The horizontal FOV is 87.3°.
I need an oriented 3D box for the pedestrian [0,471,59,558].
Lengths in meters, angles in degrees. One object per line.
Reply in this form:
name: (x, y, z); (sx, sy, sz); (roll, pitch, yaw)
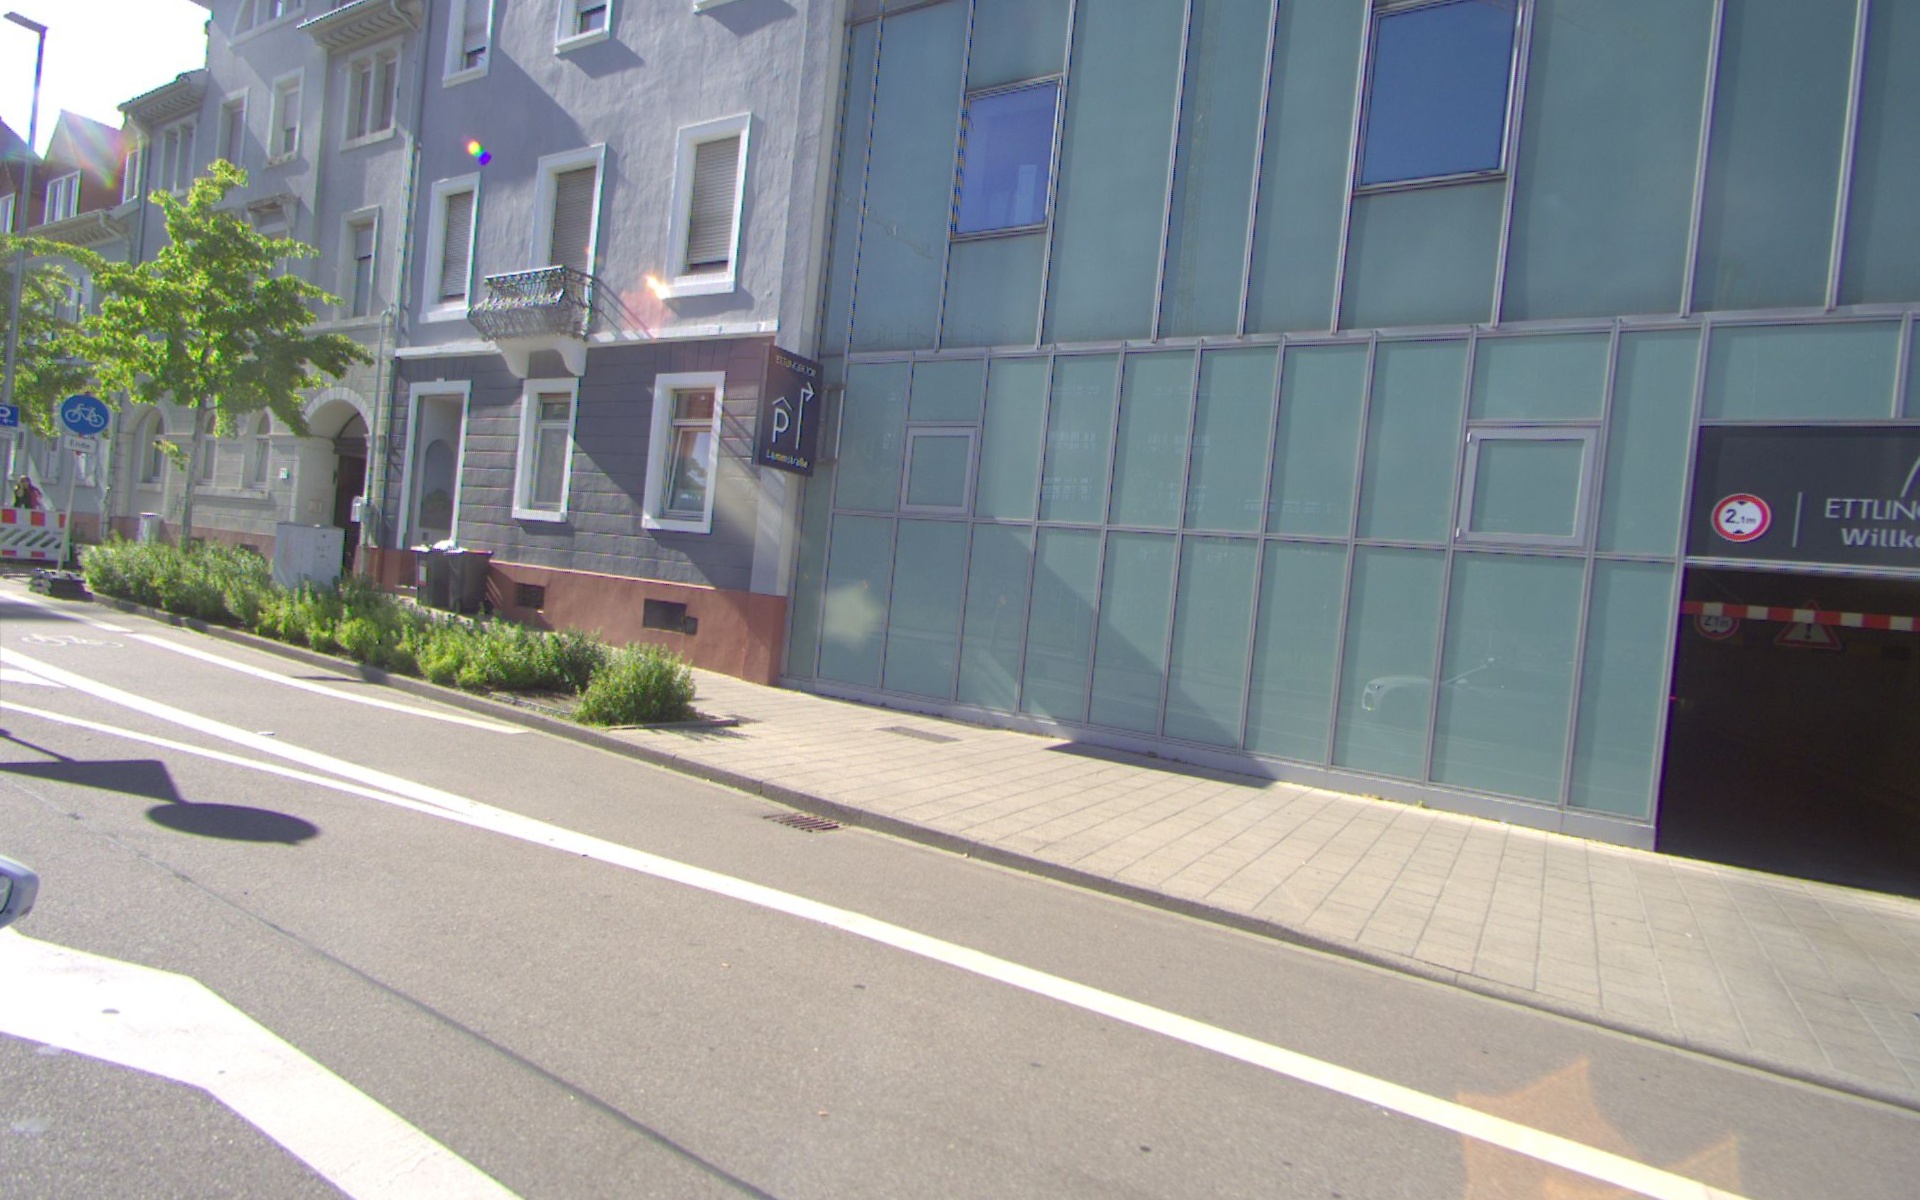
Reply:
pedestrian: (-22.672, -2.068, 24.396); (0.756, 1.952, 0.796); (7, 0, 17)

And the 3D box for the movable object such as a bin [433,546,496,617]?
movable object such as a bin: (-8.468, -0.315, 17.195); (0.692, 1.096, 0.603); (7, 0, 33)

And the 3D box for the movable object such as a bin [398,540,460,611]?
movable object such as a bin: (-9.226, -0.421, 17.484); (0.692, 1.122, 0.589); (7, 0, 33)
